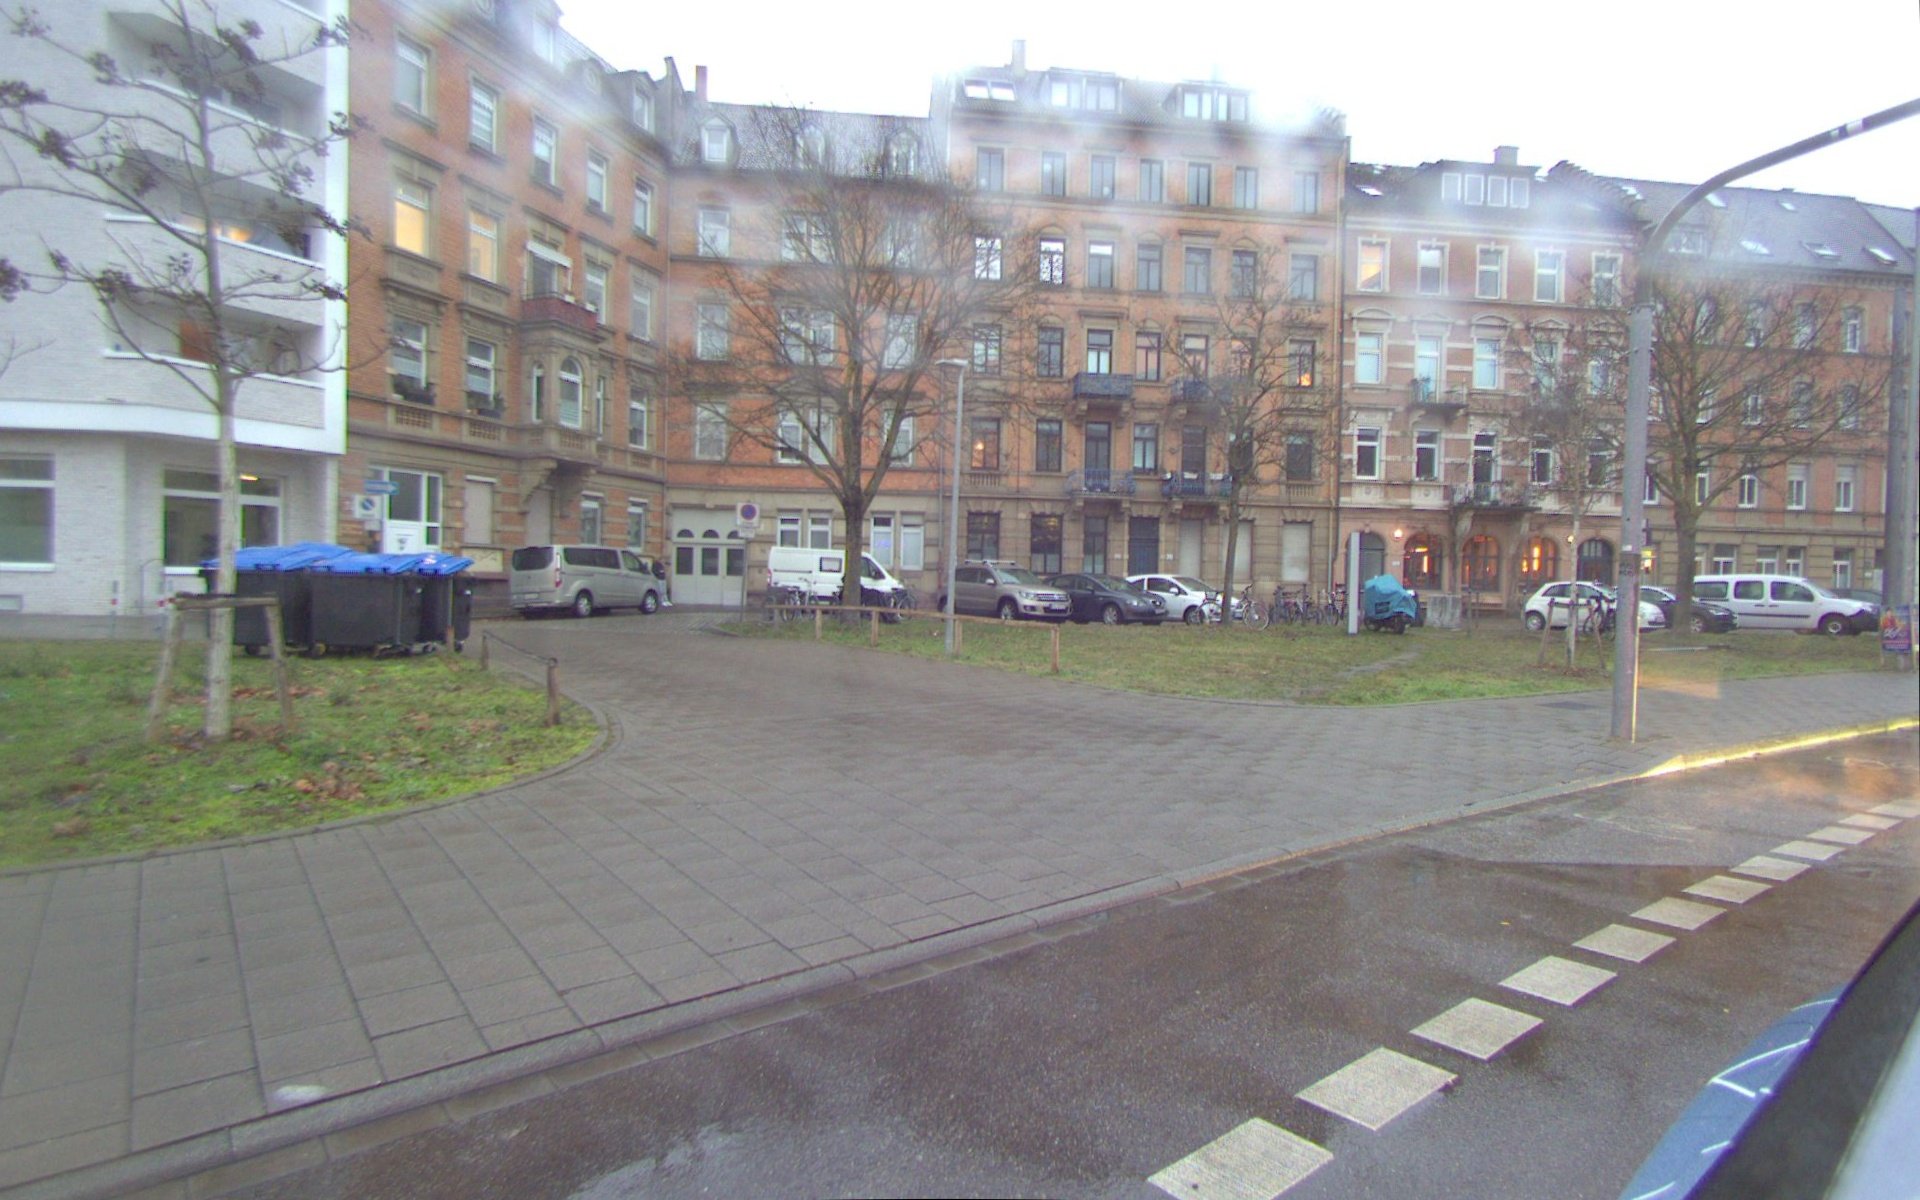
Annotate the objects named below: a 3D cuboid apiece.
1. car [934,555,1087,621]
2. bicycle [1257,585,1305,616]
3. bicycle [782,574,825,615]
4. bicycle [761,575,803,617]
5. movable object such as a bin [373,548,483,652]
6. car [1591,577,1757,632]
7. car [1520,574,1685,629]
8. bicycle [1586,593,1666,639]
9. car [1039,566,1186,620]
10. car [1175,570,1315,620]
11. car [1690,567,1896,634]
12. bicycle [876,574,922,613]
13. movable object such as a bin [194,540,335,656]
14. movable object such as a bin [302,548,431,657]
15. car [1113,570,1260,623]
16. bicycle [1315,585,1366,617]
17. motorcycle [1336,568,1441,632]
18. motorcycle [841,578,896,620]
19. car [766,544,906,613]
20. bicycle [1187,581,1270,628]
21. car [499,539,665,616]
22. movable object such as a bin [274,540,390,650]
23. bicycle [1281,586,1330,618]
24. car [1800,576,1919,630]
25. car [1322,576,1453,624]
[{"bbox_3d":[1.232,-0.351,26.444,1.710,1.589,4.155,0,1,-37],"label":"car"},{"bbox_3d":[9.345,-0.004,29.513,0.436,0.804,1.800,1,3,-13],"label":"bicycle"},{"bbox_3d":[-3.978,-0.161,25.612,0.437,0.942,1.798,0,3,-30],"label":"bicycle"},{"bbox_3d":[-4.466,-0.105,25.308,0.437,0.942,1.798,0,3,-30],"label":"bicycle"},{"bbox_3d":[-8.033,-0.010,15.343,1.118,1.504,1.053,1,1,-1],"label":"movable object such as a bin"},{"bbox_3d":[20.904,0.086,29.736,1.492,1.455,3.688,0,1,-36],"label":"car"},{"bbox_3d":[18.326,0.008,28.989,1.492,1.417,3.688,0,1,-36],"label":"car"},{"bbox_3d":[15.555,0.363,23.694,0.437,0.942,1.799,1,3,-8],"label":"bicycle"},{"bbox_3d":[3.931,-0.218,26.545,1.710,1.322,3.687,0,1,-37],"label":"car"},{"bbox_3d":[8.040,-0.173,28.835,1.493,1.322,3.687,0,1,-37],"label":"car"},{"bbox_3d":[24.149,-0.053,29.496,1.748,1.790,4.344,0,1,-37],"label":"car"},{"bbox_3d":[-1.666,-0.186,27.395,0.437,0.942,1.798,0,3,-30],"label":"bicycle"},{"bbox_3d":[-9.616,-0.042,14.040,1.229,1.529,1.053,1,1,-1],"label":"movable object such as a bin"},{"bbox_3d":[-8.311,0.027,14.223,1.201,1.450,1.053,1,1,-1],"label":"movable object such as a bin"},{"bbox_3d":[6.066,-0.134,27.426,1.638,1.322,3.687,0,1,-37],"label":"car"},{"bbox_3d":[11.164,0.021,29.771,0.386,0.827,1.800,1,3,-16],"label":"bicycle"},{"bbox_3d":[10.364,-0.041,24.603,0.866,1.362,2.364,0,4,-22],"label":"motorcycle"},{"bbox_3d":[-2.319,-0.039,25.452,0.503,0.942,1.796,0,3,-36],"label":"motorcycle"},{"bbox_3d":[-4.243,-0.728,34.454,4.565,2.216,2.003,1,1,-8],"label":"car"},{"bbox_3d":[6.470,0.093,24.486,1.879,1.031,0.535,2,3,14],"label":"bicycle"},{"bbox_3d":[-10.530,-0.639,28.602,1.919,1.966,4.569,1,1,20],"label":"car"},{"bbox_3d":[-9.543,-0.081,15.425,1.118,1.595,1.053,1,1,-1],"label":"movable object such as a bin"},{"bbox_3d":[10.024,0.046,29.450,0.436,0.787,1.800,1,3,-13],"label":"bicycle"},{"bbox_3d":[27.163,0.081,29.367,1.668,1.463,3.968,1,1,-31],"label":"car"},{"bbox_3d":[12.749,-0.044,30.331,1.492,1.322,3.301,0,1,-36],"label":"car"}]
